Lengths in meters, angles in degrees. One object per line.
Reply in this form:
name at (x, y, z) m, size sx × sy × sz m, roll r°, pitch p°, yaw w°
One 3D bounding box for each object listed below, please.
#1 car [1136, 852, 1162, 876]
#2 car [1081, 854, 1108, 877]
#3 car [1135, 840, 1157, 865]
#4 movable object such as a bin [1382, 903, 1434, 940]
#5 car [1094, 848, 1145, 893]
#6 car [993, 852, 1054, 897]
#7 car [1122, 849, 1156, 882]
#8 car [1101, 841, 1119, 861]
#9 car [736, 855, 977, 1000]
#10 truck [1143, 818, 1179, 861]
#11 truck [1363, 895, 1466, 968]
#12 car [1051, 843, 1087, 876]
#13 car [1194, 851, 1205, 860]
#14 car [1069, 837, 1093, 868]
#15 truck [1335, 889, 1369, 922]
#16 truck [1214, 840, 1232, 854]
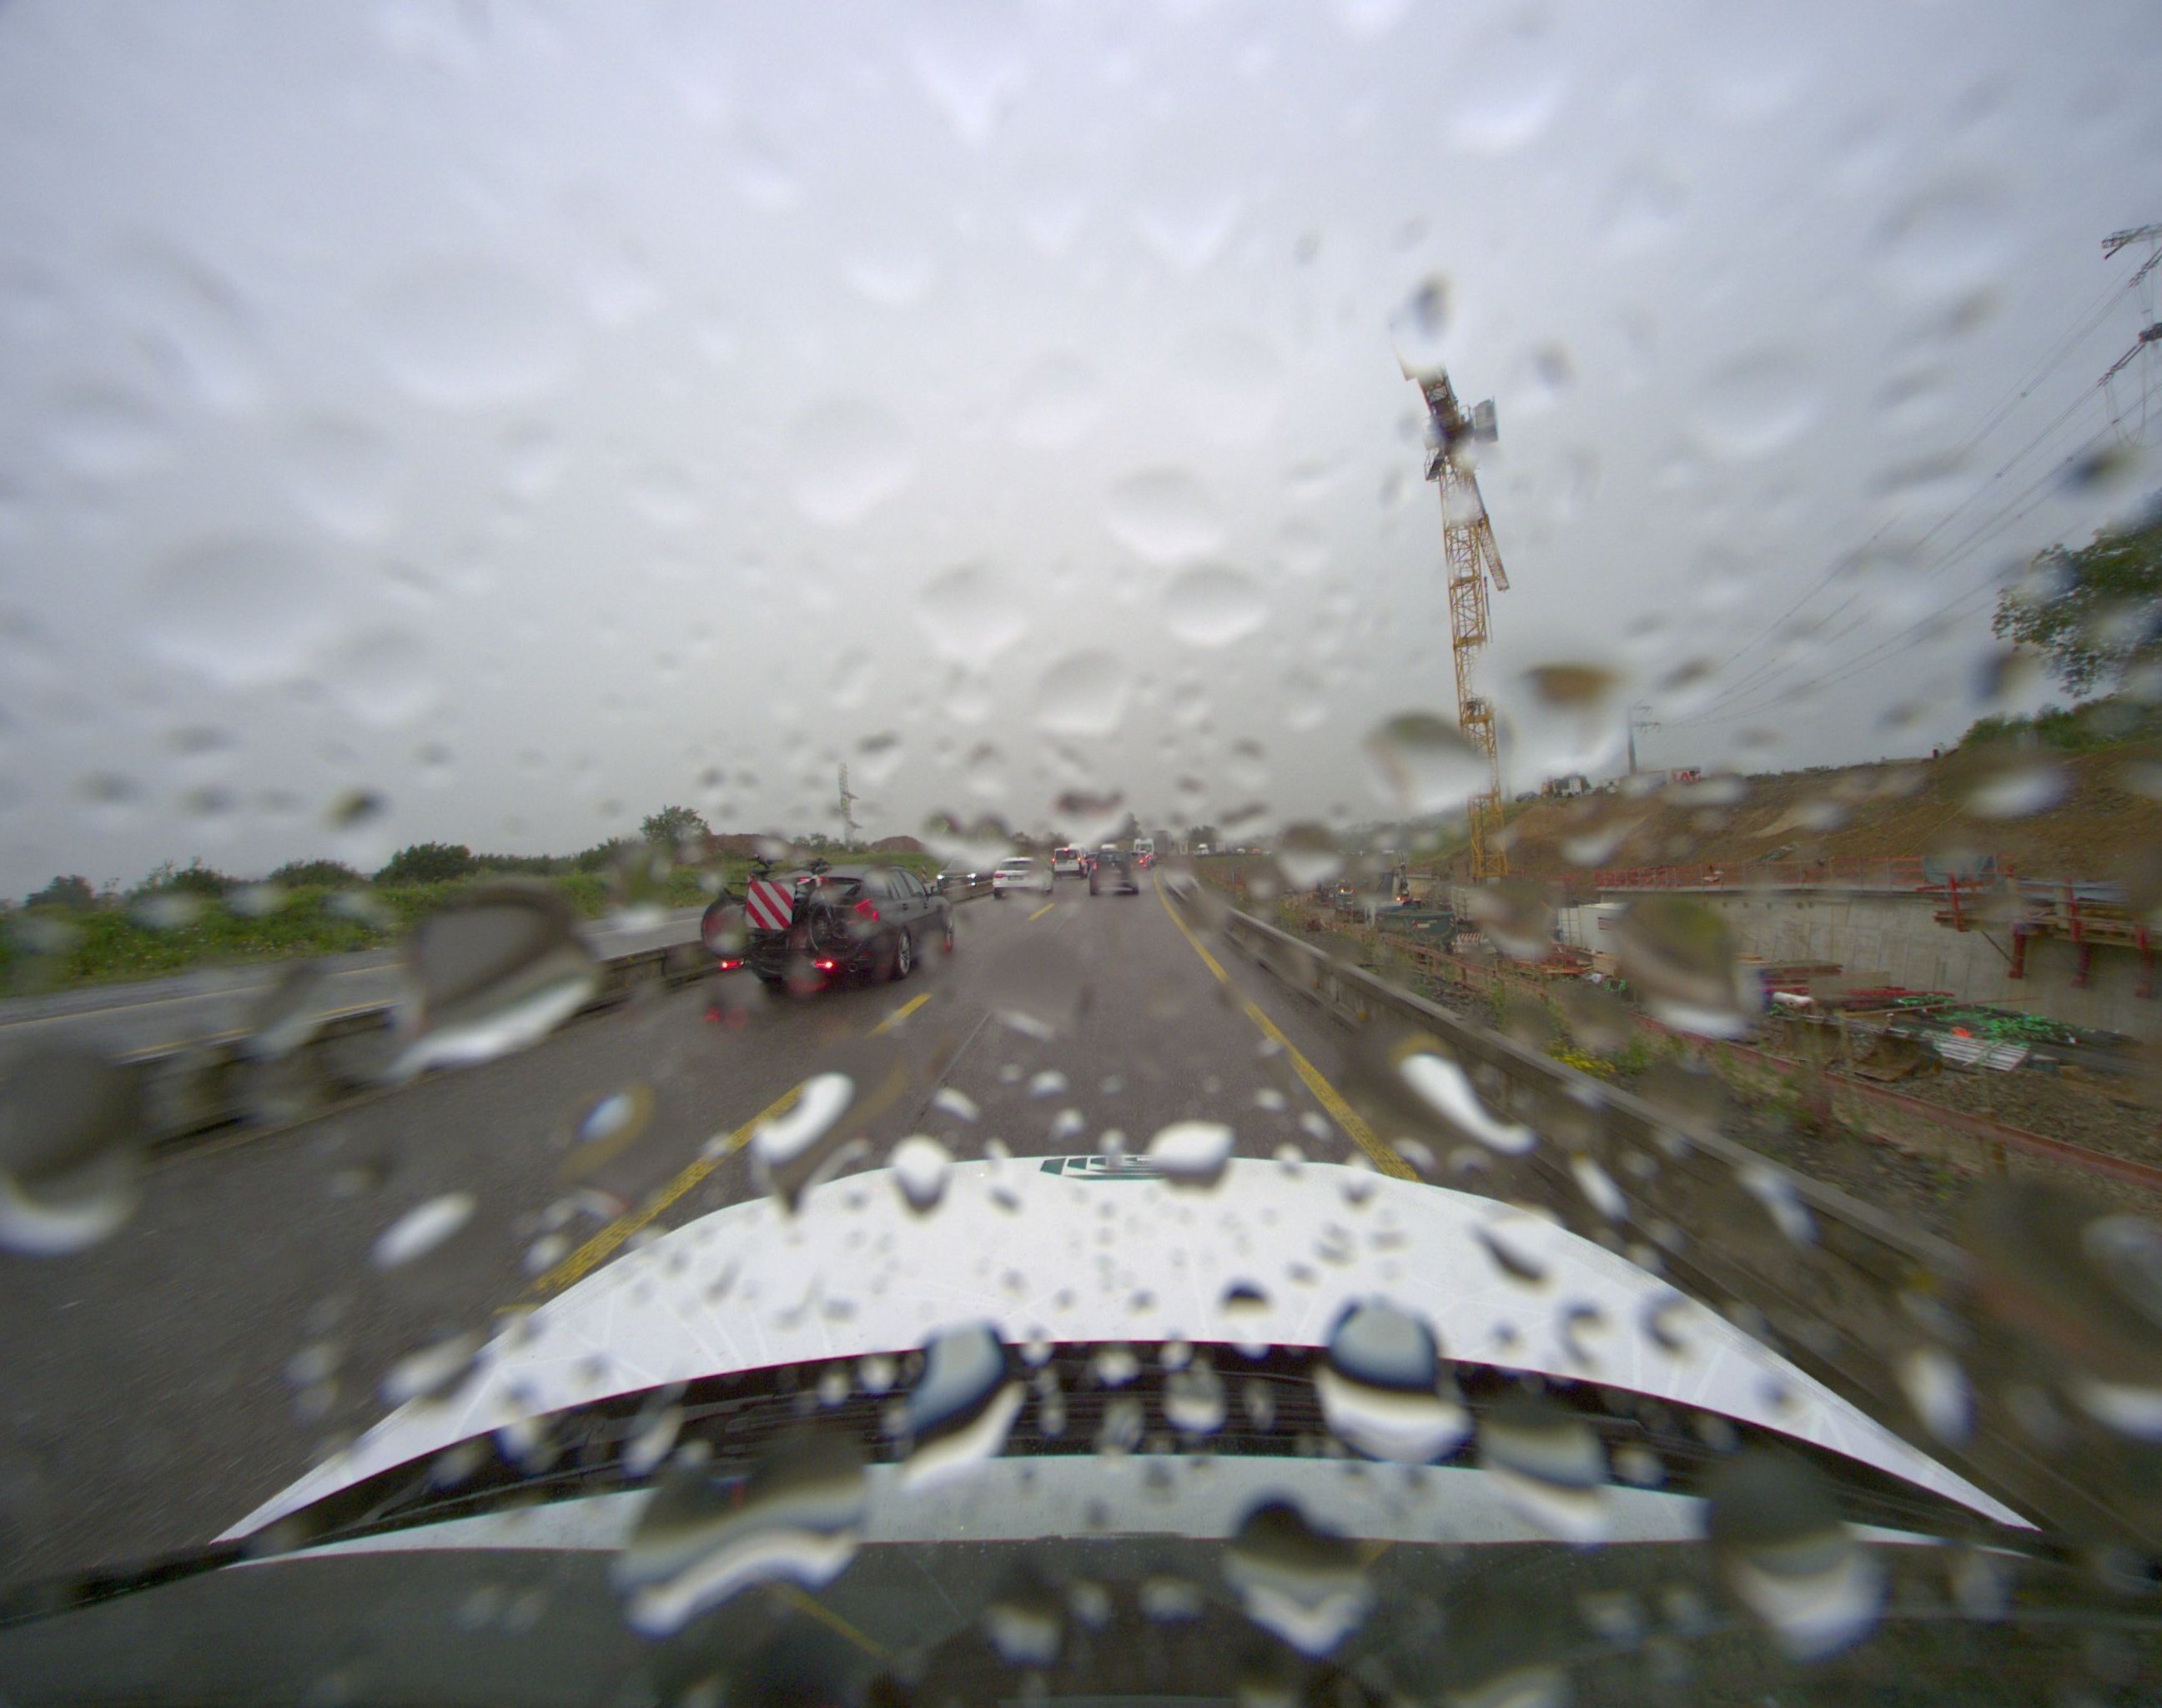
car at (5.530, 0.815, 66.259) m, size 1.816 × 1.815 × 4.009 m, roll -1°, pitch -1°, yaw 8°
car at (1.106, 0.924, 65.384) m, size 1.817 × 1.815 × 4.007 m, roll -1°, pitch -1°, yaw 6°
car at (6.482, -0.109, 81.008) m, size 1.816 × 2.437 × 4.167 m, roll -1°, pitch -1°, yaw 8°
movable object such as a bin at (26.106, 5.398, 65.189) m, size 3.133 × 2.738 × 2.974 m, roll -1°, pitch -1°, yaw 7°
car at (1.493, 0.619, 31.220) m, size 1.819 × 1.591 × 4.003 m, roll -1°, pitch -1°, yaw 3°
car at (-2.020, 0.728, 29.757) m, size 1.820 × 1.499 × 4.001 m, roll -1°, pitch -1°, yaw 1°
car at (3.464, 0.672, 48.007) m, size 1.817 × 1.815 × 4.006 m, roll -1°, pitch -1°, yaw 6°
car at (3.921, -0.368, 110.041) m, size 2.015 × 2.548 × 5.965 m, roll -2°, pitch 0°, yaw 4°
car at (-2.908, 0.844, 12.062) m, size 1.728 × 1.462 × 5.634 m, roll -1°, pitch 1°, yaw 3°
truck at (10.197, -1.633, 102.697) m, size 3.522 × 5.077 × 10.470 m, roll -1°, pitch -1°, yaw 10°
truck at (19.170, 4.328, 47.513) m, size 2.688 × 3.503 × 8.953 m, roll -1°, pitch -1°, yaw 3°
car at (-0.655, 0.345, 47.687) m, size 1.819 × 1.815 × 4.003 m, roll -1°, pitch -1°, yaw 3°
car at (29.377, 0.342, 201.427) m, size 2.019 × 2.256 × 4.176 m, roll -1°, pitch -1°, yaw 17°
car at (0.032, -0.176, 82.566) m, size 1.985 × 3.013 × 5.785 m, roll -1°, pitch 0°, yaw 3°
truck at (32.175, 6.076, 97.092) m, size 2.712 × 3.491 × 9.093 m, roll -1°, pitch -1°, yaw 11°
truck at (39.121, -2.014, 223.642) m, size 3.443 × 3.715 × 8.459 m, roll -2°, pitch 0°, yaw 19°
